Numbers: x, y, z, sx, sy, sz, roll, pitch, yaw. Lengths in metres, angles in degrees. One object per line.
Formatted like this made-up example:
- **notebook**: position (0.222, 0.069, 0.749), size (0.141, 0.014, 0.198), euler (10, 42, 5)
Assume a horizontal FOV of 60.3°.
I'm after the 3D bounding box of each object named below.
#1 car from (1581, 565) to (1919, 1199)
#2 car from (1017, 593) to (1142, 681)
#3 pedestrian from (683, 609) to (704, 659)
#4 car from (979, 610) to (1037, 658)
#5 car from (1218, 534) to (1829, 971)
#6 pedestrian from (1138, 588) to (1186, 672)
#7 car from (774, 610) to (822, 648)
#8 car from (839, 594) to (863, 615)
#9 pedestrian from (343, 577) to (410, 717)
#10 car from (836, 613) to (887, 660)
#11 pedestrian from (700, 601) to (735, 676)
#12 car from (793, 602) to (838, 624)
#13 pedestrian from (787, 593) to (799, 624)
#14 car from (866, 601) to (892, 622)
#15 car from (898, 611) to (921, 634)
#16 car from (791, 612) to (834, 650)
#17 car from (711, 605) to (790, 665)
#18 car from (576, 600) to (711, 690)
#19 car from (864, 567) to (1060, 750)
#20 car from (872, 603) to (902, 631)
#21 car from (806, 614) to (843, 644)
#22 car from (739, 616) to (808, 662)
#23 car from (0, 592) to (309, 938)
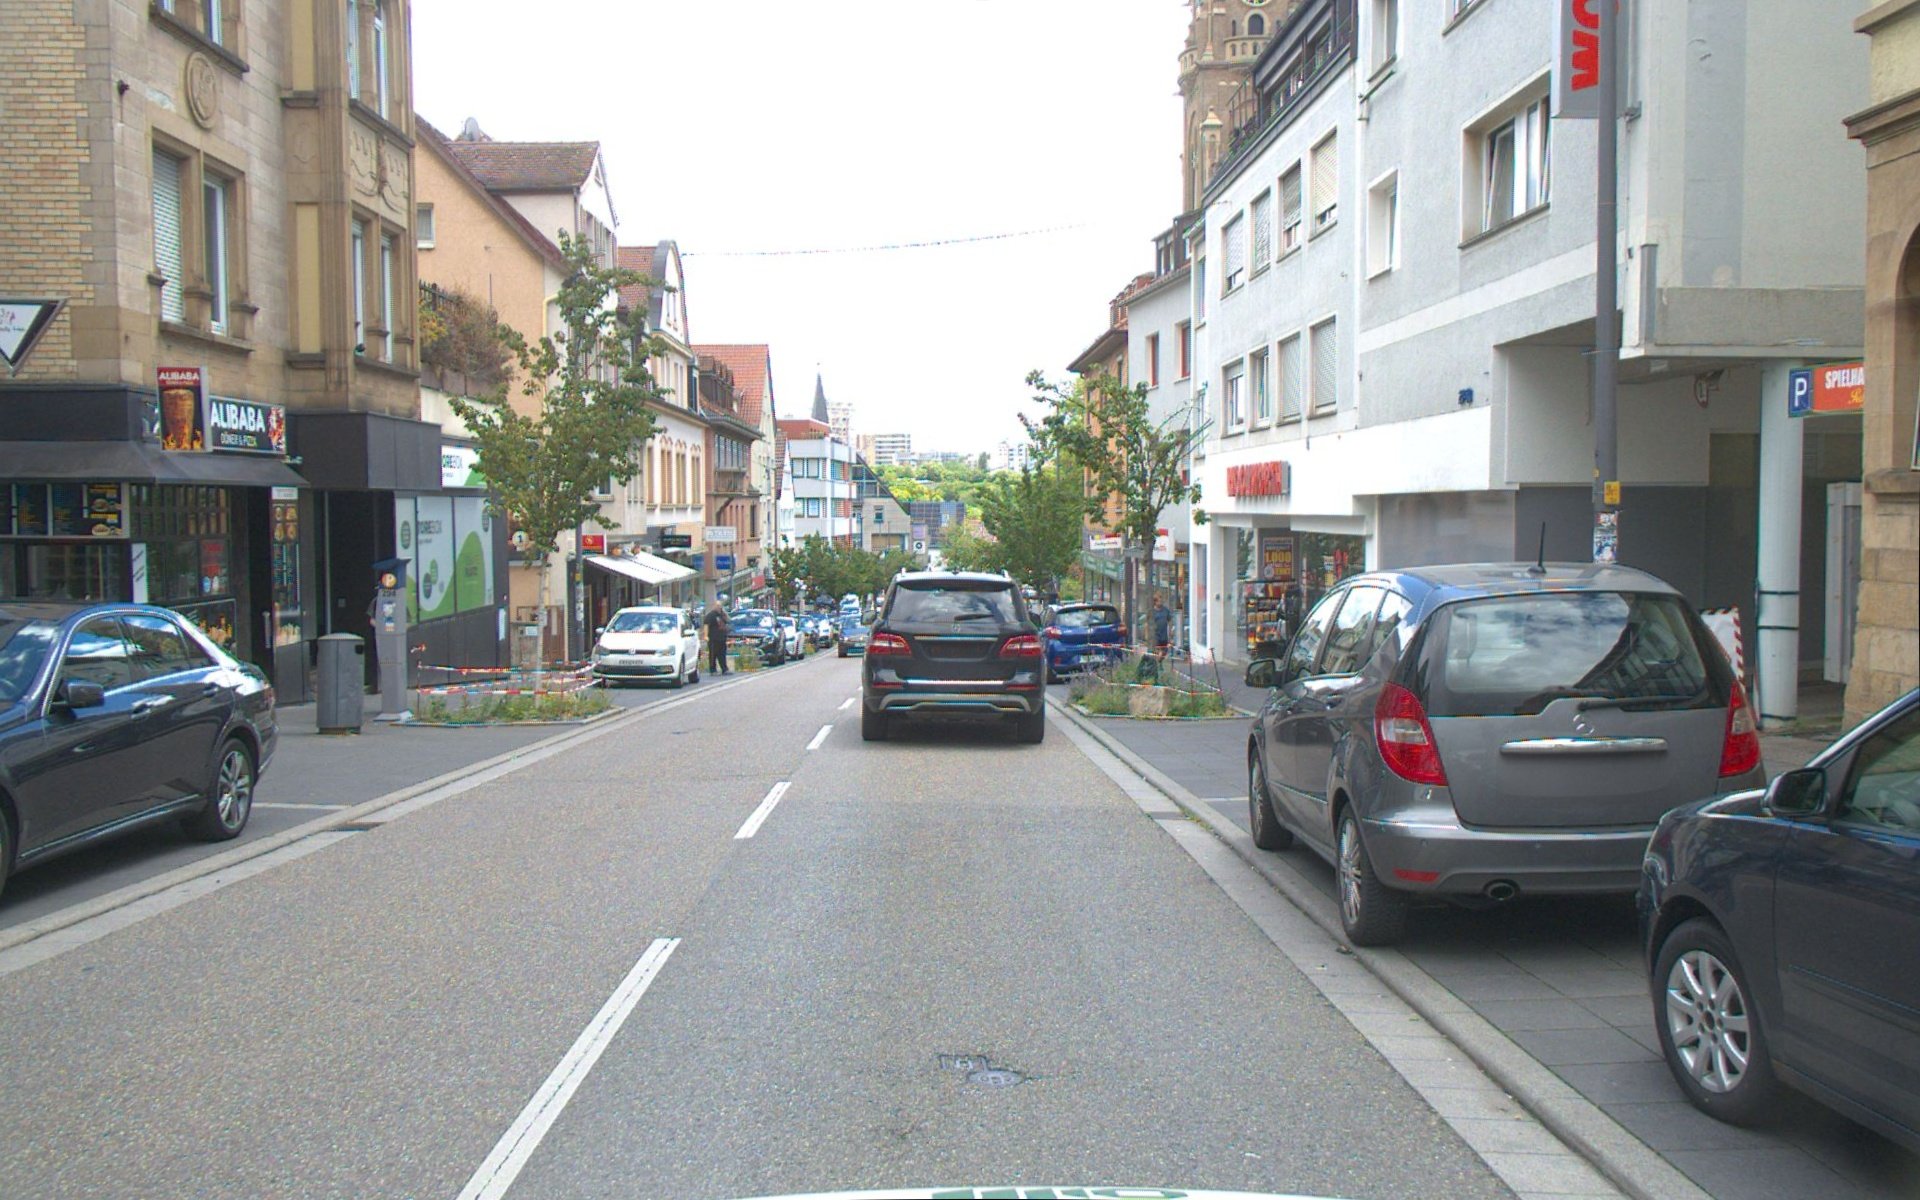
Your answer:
- **car**: position (3.060, 0.659, 3.614), size (1.714, 1.535, 3.871), euler (-2, 0, -4)
- **car**: position (2.237, 0.723, 32.026), size (1.715, 1.524, 3.795), euler (-3, -1, -6)
- **pedestrian**: position (-8.701, 1.090, 54.034), size (0.536, 1.603, 0.862), euler (-1, 0, -2)
- **car**: position (1.683, 1.181, 59.048), size (1.713, 1.491, 4.073), euler (-4, 0, -2)
- **car**: position (2.490, 0.587, 8.335), size (1.713, 1.636, 3.800), euler (-2, 0, -1)
- **pedestrian**: position (3.963, 0.581, 32.467), size (0.741, 1.588, 0.817), euler (-2, 0, -4)
- **car**: position (-6.843, 1.212, 70.178), size (1.888, 1.523, 4.258), euler (-1, 0, -4)
- **car**: position (-9.098, 0.389, 137.823), size (1.888, 1.657, 4.412), euler (2, 0, -3)
- **pedestrian**: position (-7.486, 0.594, 21.232), size (0.575, 1.743, 0.710), euler (2, 0, -2)
- **car**: position (-3.683, 1.355, 61.772), size (1.783, 1.646, 4.132), euler (-2, -1, -4)
- **pedestrian**: position (-5.534, 0.870, 37.824), size (0.723, 1.701, 0.862), euler (0, -1, -4)
- **car**: position (-12.661, 1.159, 145.075), size (3.910, 1.780, 1.998), euler (-3, -1, -5)
- **pedestrian**: position (-9.364, 0.480, 92.681), size (0.628, 1.697, 0.720), euler (0, -1, -2)
- **car**: position (-6.576, 0.940, 134.913), size (1.887, 1.657, 4.261), euler (2, 0, -1)
- **car**: position (-4.102, 1.787, 133.126), size (1.729, 1.645, 4.031), euler (-4, 1, -2)
- **car**: position (-6.895, 1.430, 77.471), size (1.889, 1.623, 4.454), euler (2, 0, -4)
- **car**: position (-6.134, 1.025, 48.791), size (1.888, 1.650, 4.637), euler (1, -1, -2)
- **car**: position (-5.962, 0.800, 31.639), size (1.888, 1.538, 4.260), euler (2, 0, -2)
- **car**: position (-0.012, 0.553, 18.252), size (1.904, 1.770, 4.178), euler (0, 0, -1)
- **car**: position (-4.788, 1.095, 108.972), size (1.952, 1.748, 4.445), euler (-1, 0, -2)
- **car**: position (-7.647, 1.634, 93.880), size (1.888, 1.523, 4.260), euler (2, 0, -2)
- **car**: position (-6.298, 1.304, 56.349), size (1.887, 1.455, 4.261), euler (0, 0, 0)
- **car**: position (-5.352, 0.743, 8.922), size (1.888, 1.518, 4.840), euler (2, 0, -2)
